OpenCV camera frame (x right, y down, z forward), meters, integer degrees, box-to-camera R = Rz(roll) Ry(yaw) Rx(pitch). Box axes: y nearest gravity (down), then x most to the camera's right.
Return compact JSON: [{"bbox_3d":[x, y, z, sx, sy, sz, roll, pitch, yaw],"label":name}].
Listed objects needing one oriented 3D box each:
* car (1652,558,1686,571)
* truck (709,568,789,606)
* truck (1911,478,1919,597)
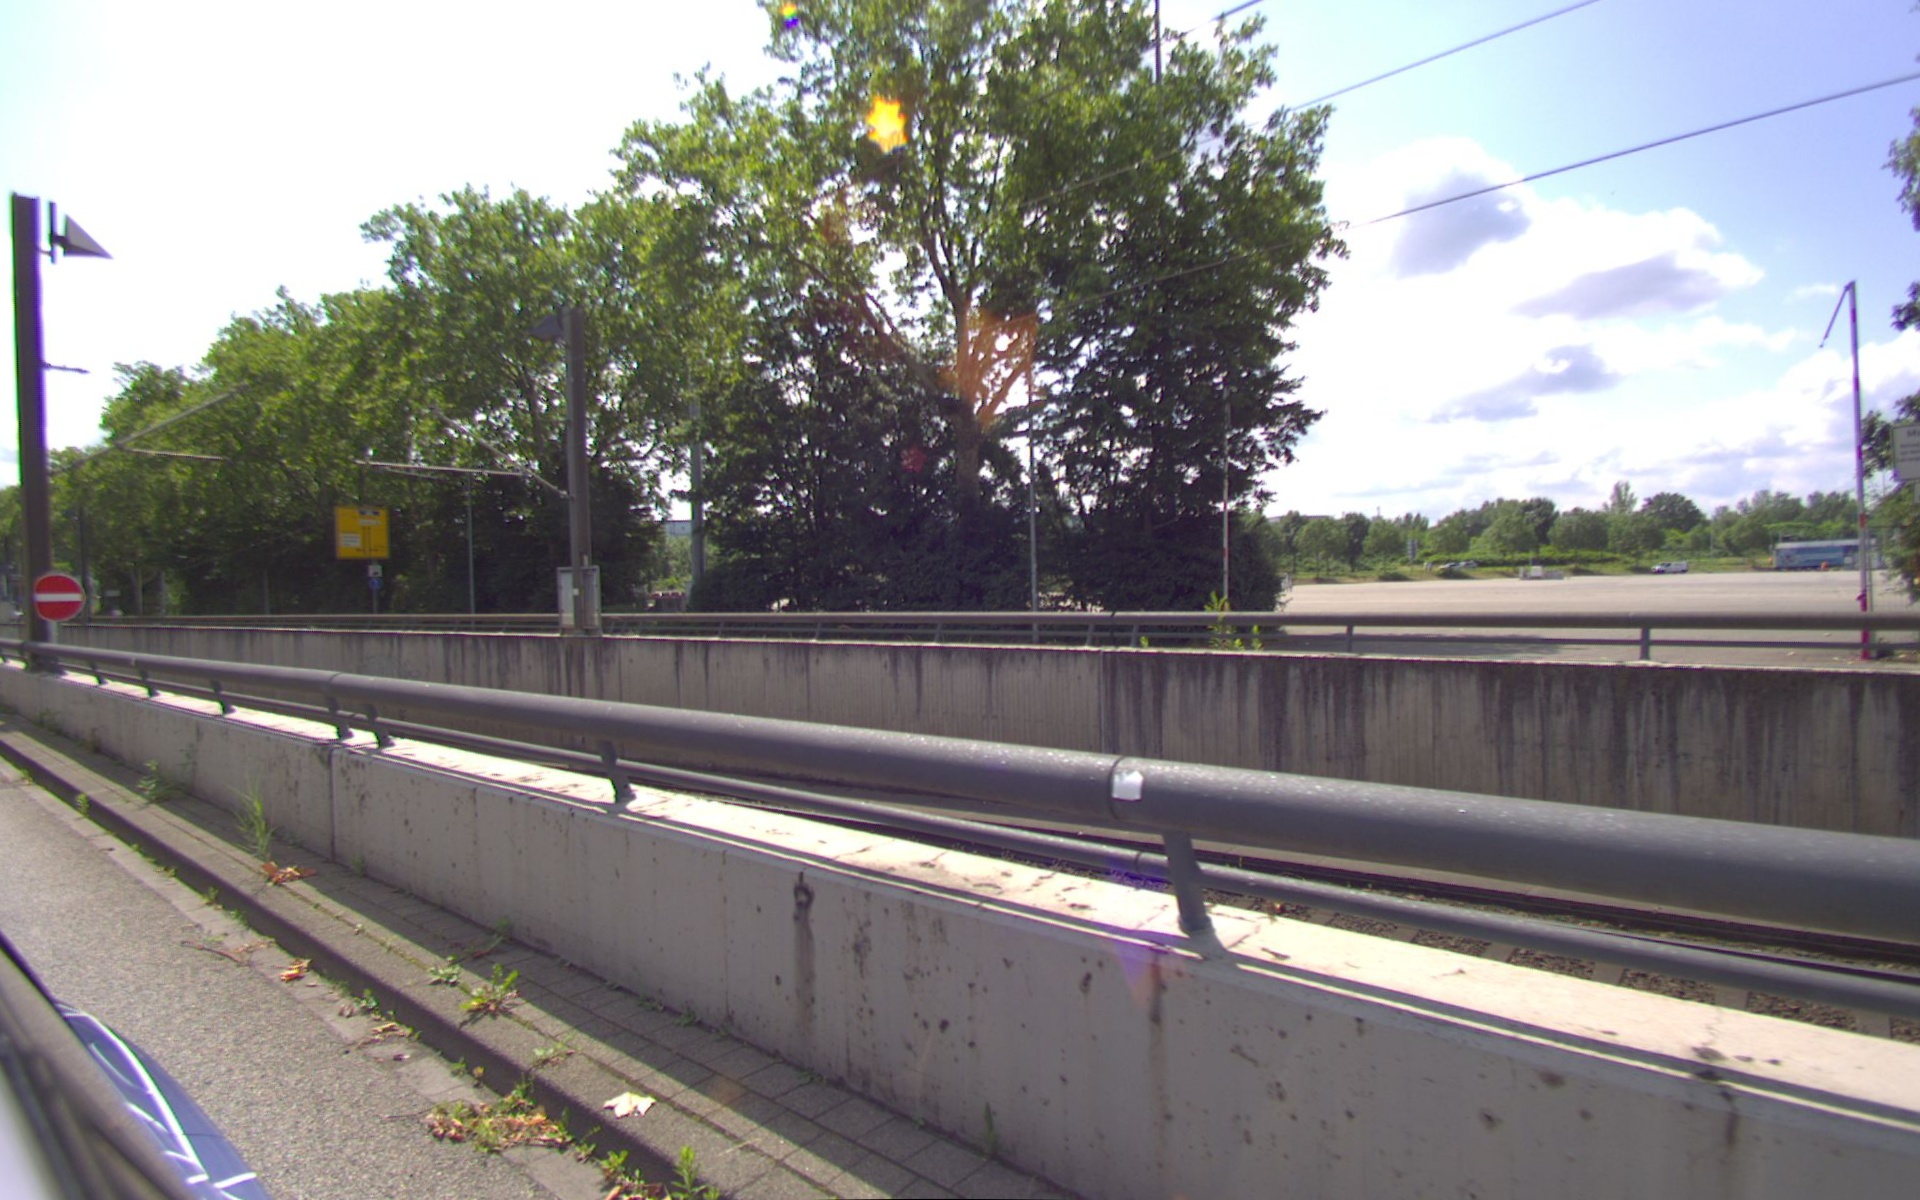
[{"bbox_3d":[113.833,-5.675,162.448,3.949,2.029,1.997,0,0,5],"label":"car"},{"bbox_3d":[-20.806,-1.289,99.990,7.600,3.689,3.066,0,0,-10],"label":"truck"},{"bbox_3d":[37.790,-2.187,38.021,2.748,4.104,12.651,0,0,42],"label":"truck"}]
